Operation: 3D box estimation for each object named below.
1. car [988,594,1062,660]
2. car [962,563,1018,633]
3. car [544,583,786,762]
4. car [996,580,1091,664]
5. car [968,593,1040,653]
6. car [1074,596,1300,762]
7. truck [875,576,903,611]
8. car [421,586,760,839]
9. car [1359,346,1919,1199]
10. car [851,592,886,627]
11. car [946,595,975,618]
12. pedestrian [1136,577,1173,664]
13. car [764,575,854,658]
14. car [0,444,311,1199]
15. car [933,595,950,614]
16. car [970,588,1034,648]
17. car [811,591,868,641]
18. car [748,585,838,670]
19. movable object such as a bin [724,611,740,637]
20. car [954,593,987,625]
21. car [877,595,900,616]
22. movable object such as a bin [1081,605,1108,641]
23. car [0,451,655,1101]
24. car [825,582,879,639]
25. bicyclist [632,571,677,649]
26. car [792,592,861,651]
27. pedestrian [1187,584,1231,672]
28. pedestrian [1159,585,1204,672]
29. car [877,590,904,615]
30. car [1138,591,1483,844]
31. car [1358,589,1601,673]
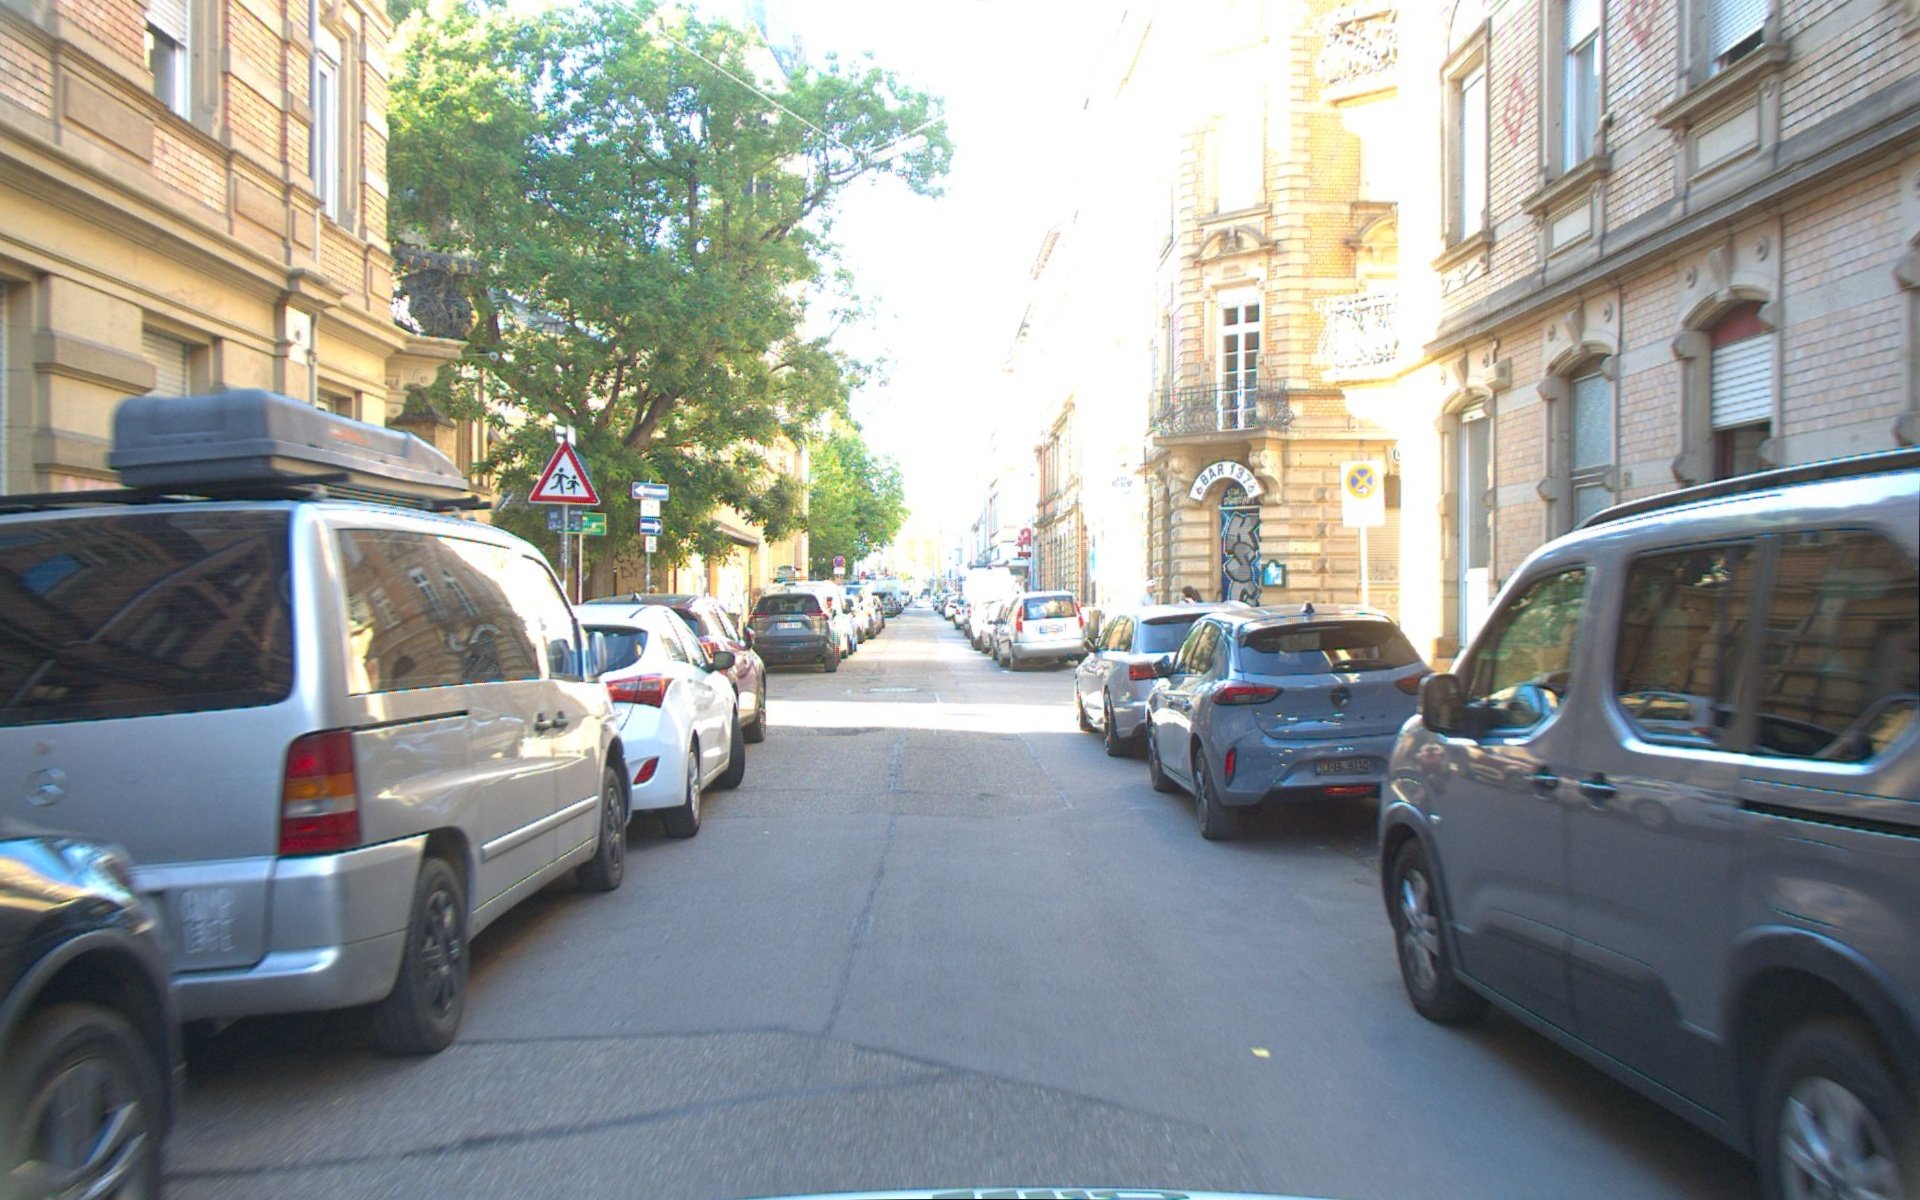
[{"bbox_3d":[1.581,0.642,41.353,1.504,1.539,3.679,-1,0,-3],"label":"car"},{"bbox_3d":[1.148,-0.084,65.960,2.026,2.656,5.886,0,0,-1],"label":"car"},{"bbox_3d":[-2.759,0.622,16.301,1.687,1.507,4.088,1,0,-1],"label":"car"},{"bbox_3d":[1.790,0.449,36.529,1.669,1.744,3.935,-1,0,-3],"label":"car"},{"bbox_3d":[1.197,0.616,46.449,1.541,1.552,3.904,2,0,-5],"label":"car"},{"bbox_3d":[2.252,0.725,17.508,1.671,1.484,4.510,1,0,-1],"label":"car"},{"bbox_3d":[-6.854,-0.644,160.432,2.480,3.339,6.993,0,0,-1],"label":"truck"},{"bbox_3d":[-2.394,0.656,11.628,1.640,1.445,3.872,1,0,-3],"label":"car"},{"bbox_3d":[2.611,0.537,4.863,1.734,1.995,4.263,1,0,-1],"label":"car"},{"bbox_3d":[-4.560,0.467,82.795,1.568,1.642,3.807,-2,0,-2],"label":"car"},{"bbox_3d":[-0.007,0.393,110.362,1.859,1.514,3.868,0,0,-1],"label":"car"},{"bbox_3d":[4.025,0.414,34.235,0.563,1.763,0.662,-1,1,-11],"label":"pedestrian"},{"bbox_3d":[-3.607,0.360,40.216,1.808,1.895,4.465,0,1,0],"label":"car"},{"bbox_3d":[-2.436,0.554,1.653,1.751,1.652,4.607,1,0,-1],"label":"car"},{"bbox_3d":[-2.120,0.482,186.636,1.953,2.049,3.999,0,0,-1],"label":"car"},{"bbox_3d":[1.256,0.536,51.187,1.771,1.719,4.213,2,0,-1],"label":"car"},{"bbox_3d":[-4.061,0.514,56.274,1.707,1.614,3.868,0,0,-1],"label":"car"},{"bbox_3d":[-3.445,0.528,34.717,1.706,1.675,4.286,0,0,-4],"label":"car"},{"bbox_3d":[-7.307,0.764,52.928,0.444,0.821,0.590,0,0,-2],"label":"movable object such as a bin"},{"bbox_3d":[0.523,0.433,81.746,1.571,1.531,4.000,1,0,0],"label":"car"},{"bbox_3d":[-6.208,0.482,143.996,1.839,1.828,3.996,0,0,-5],"label":"car"},{"bbox_3d":[4.103,0.692,50.497,0.543,1.071,0.596,-3,0,-35],"label":"movable object such as a bin"},{"bbox_3d":[-2.631,0.484,6.973,1.854,1.816,4.607,1,0,-1],"label":"car"},{"bbox_3d":[-4.008,0.375,61.913,1.826,1.991,4.608,-2,0,-2],"label":"car"},{"bbox_3d":[-7.054,0.227,38.160,0.788,1.753,0.692,2,1,7],"label":"bicyclist"},{"bbox_3d":[-3.631,0.551,45.443,1.653,1.502,3.859,-2,0,-2],"label":"car"},{"bbox_3d":[4.770,0.523,31.695,0.565,1.650,0.731,-1,1,-16],"label":"pedestrian"},{"bbox_3d":[4.203,0.532,31.446,0.581,1.632,0.724,-1,1,-16],"label":"pedestrian"},{"bbox_3d":[-5.121,0.158,122.351,1.837,1.828,3.999,0,0,-1],"label":"car"},{"bbox_3d":[2.344,0.705,12.017,1.632,1.505,3.887,0,1,-1],"label":"car"},{"bbox_3d":[9.425,0.546,30.200,3.899,1.477,1.733,0,1,-1],"label":"car"}]
